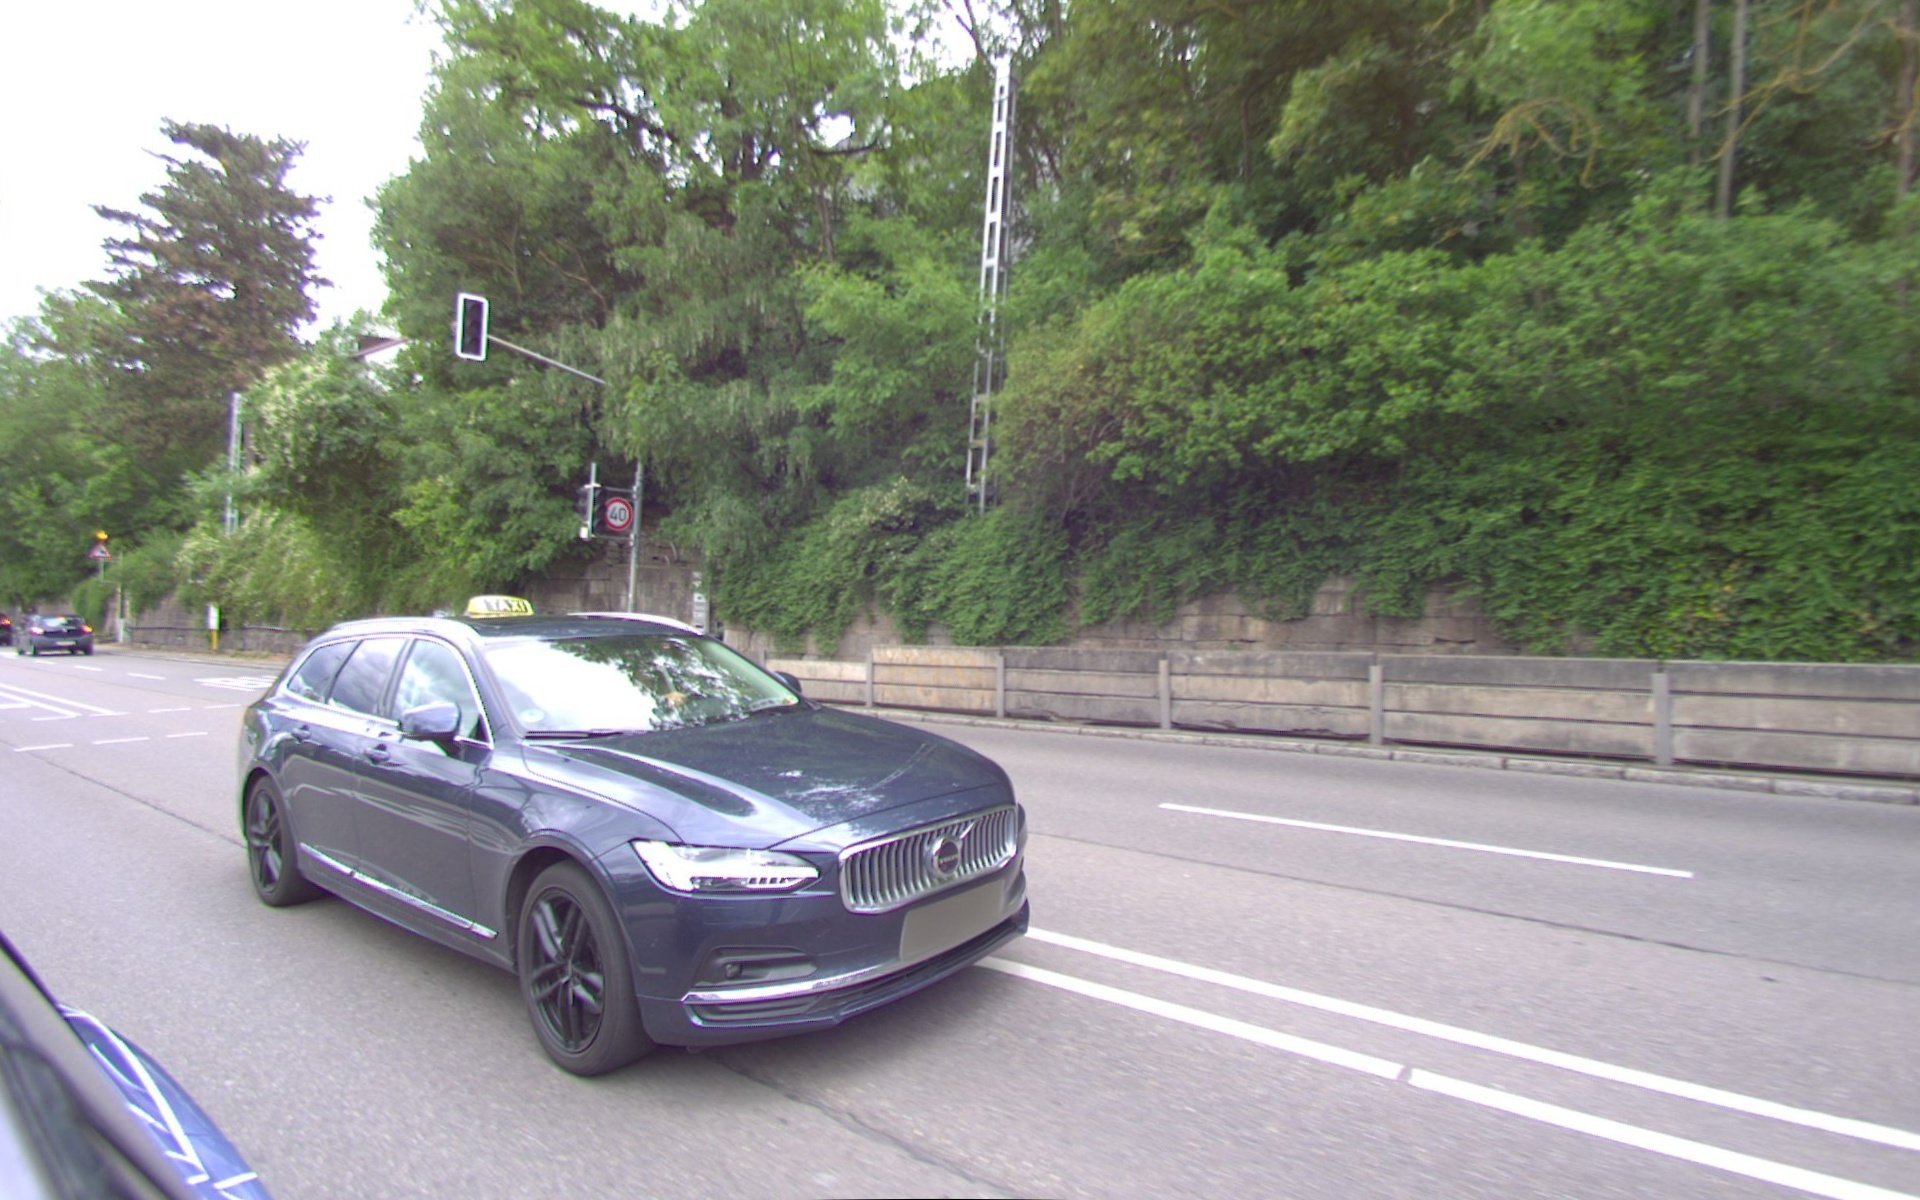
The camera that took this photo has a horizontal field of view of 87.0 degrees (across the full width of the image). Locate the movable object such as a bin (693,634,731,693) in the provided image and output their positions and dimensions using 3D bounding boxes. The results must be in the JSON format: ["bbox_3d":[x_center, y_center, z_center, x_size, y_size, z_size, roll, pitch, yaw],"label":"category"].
[{"bbox_3d":[-4.252,1.083,17.354,0.478,0.957,0.423,-1,1,37],"label":"movable object such as a bin"}]

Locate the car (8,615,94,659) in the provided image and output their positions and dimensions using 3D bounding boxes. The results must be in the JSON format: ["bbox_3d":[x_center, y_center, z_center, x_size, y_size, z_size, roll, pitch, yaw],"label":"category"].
[{"bbox_3d":[-32.997,1.300,36.717,4.246,1.444,1.794,-1,1,41],"label":"car"}]

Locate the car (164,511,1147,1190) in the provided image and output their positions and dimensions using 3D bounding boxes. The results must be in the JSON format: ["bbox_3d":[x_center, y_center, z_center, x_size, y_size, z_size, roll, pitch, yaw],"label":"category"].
[{"bbox_3d":[-1.834,0.601,4.716,5.022,1.588,1.916,-1,0,40],"label":"car"}]

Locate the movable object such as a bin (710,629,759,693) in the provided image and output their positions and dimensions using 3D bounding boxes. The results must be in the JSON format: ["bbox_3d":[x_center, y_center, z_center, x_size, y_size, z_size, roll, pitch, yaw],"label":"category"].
[{"bbox_3d":[-3.982,1.068,17.879,0.556,1.075,0.636,-1,1,37],"label":"movable object such as a bin"}]

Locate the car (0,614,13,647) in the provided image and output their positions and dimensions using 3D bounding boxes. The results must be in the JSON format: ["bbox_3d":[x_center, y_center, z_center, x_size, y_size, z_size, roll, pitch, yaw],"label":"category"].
[{"bbox_3d":[-45.371,1.450,46.770,4.206,1.493,1.764,-2,0,39],"label":"car"}]
